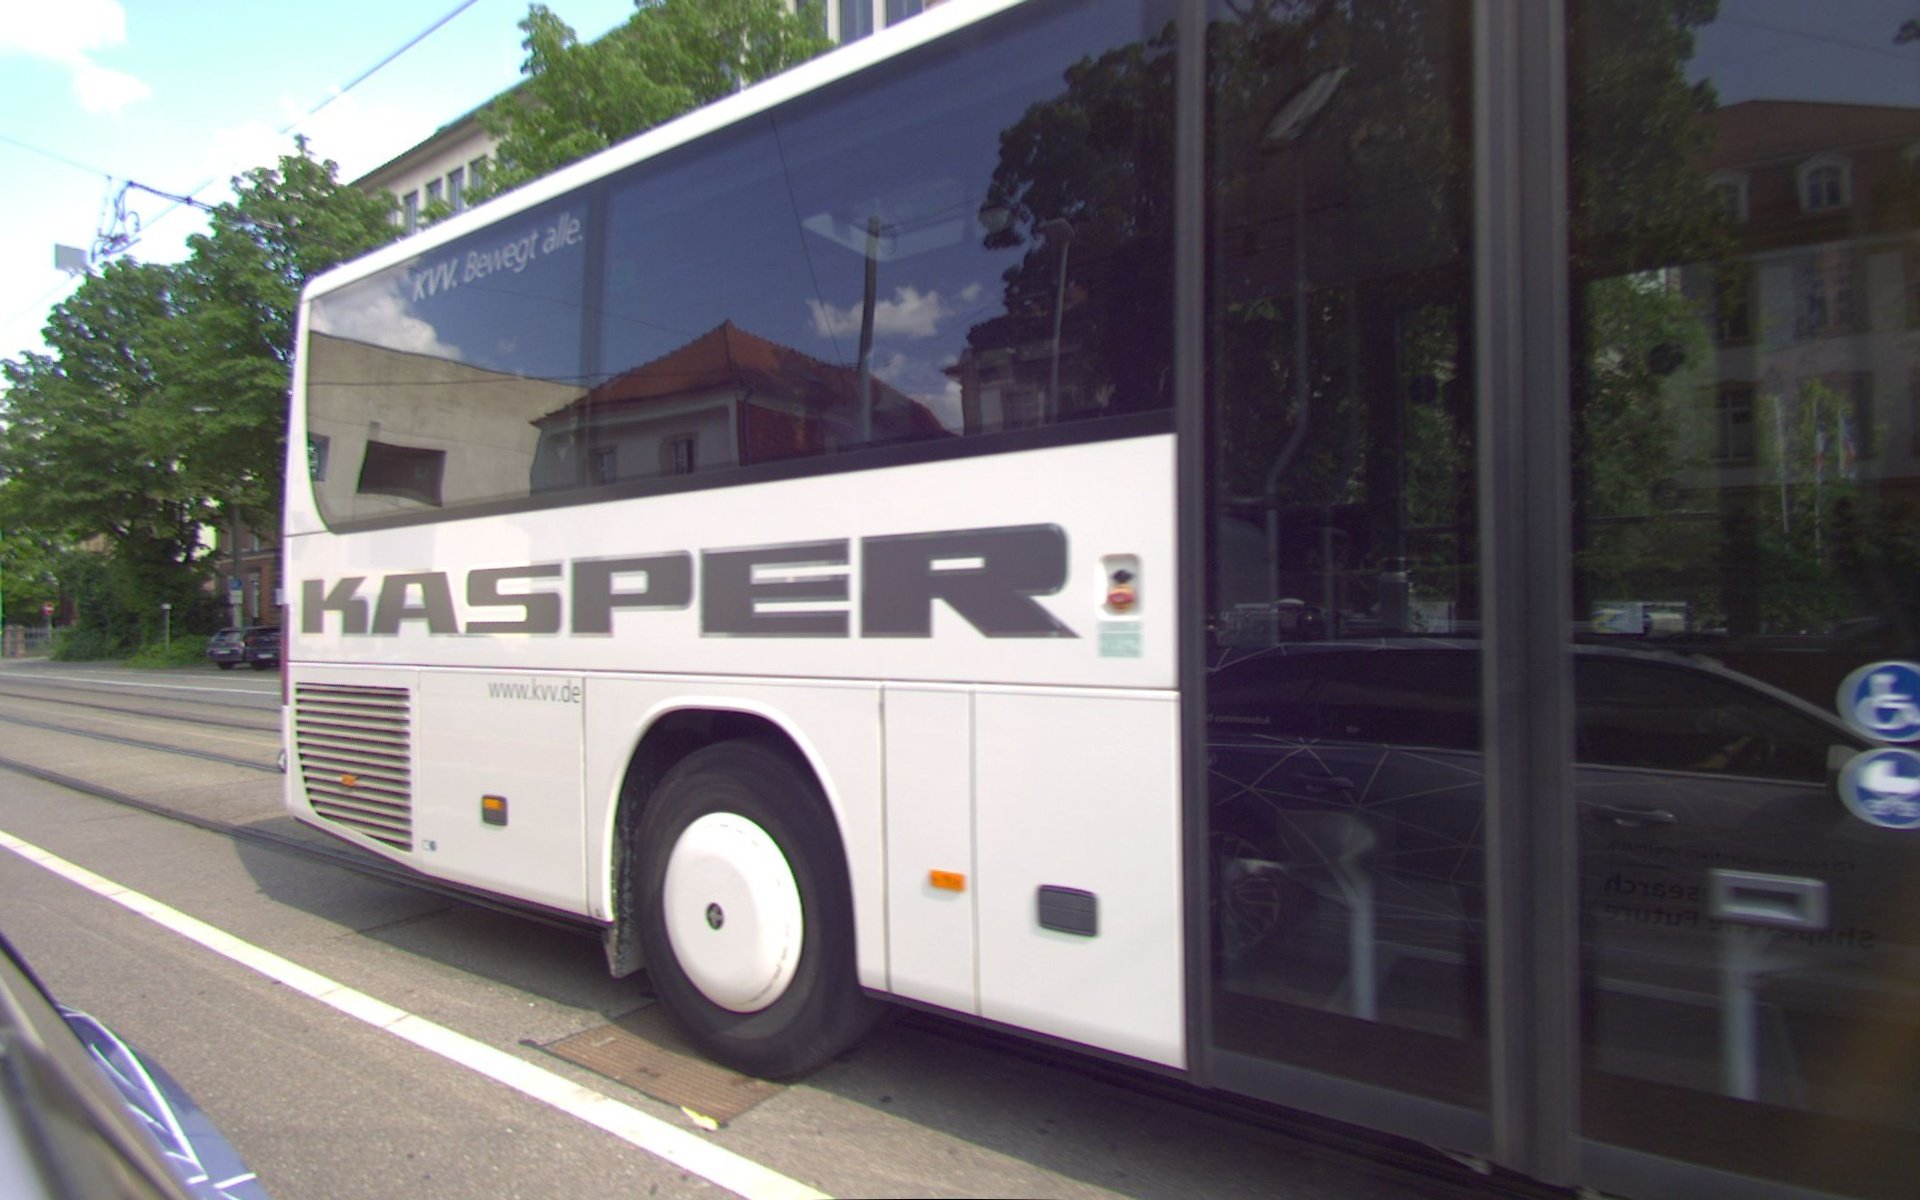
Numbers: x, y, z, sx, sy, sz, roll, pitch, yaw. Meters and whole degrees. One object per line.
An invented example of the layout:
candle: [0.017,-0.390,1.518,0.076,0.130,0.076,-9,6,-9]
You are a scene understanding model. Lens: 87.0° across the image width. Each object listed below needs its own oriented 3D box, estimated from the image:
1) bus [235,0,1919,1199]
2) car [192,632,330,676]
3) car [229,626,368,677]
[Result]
bus: [2.303,-0.334,2.606,12.176,3.353,2.893,-1,-1,35]
car: [-25.312,1.922,36.856,1.773,1.458,4.231,-1,-2,8]
car: [-22.975,1.762,35.385,1.902,1.562,4.236,-2,-1,4]
